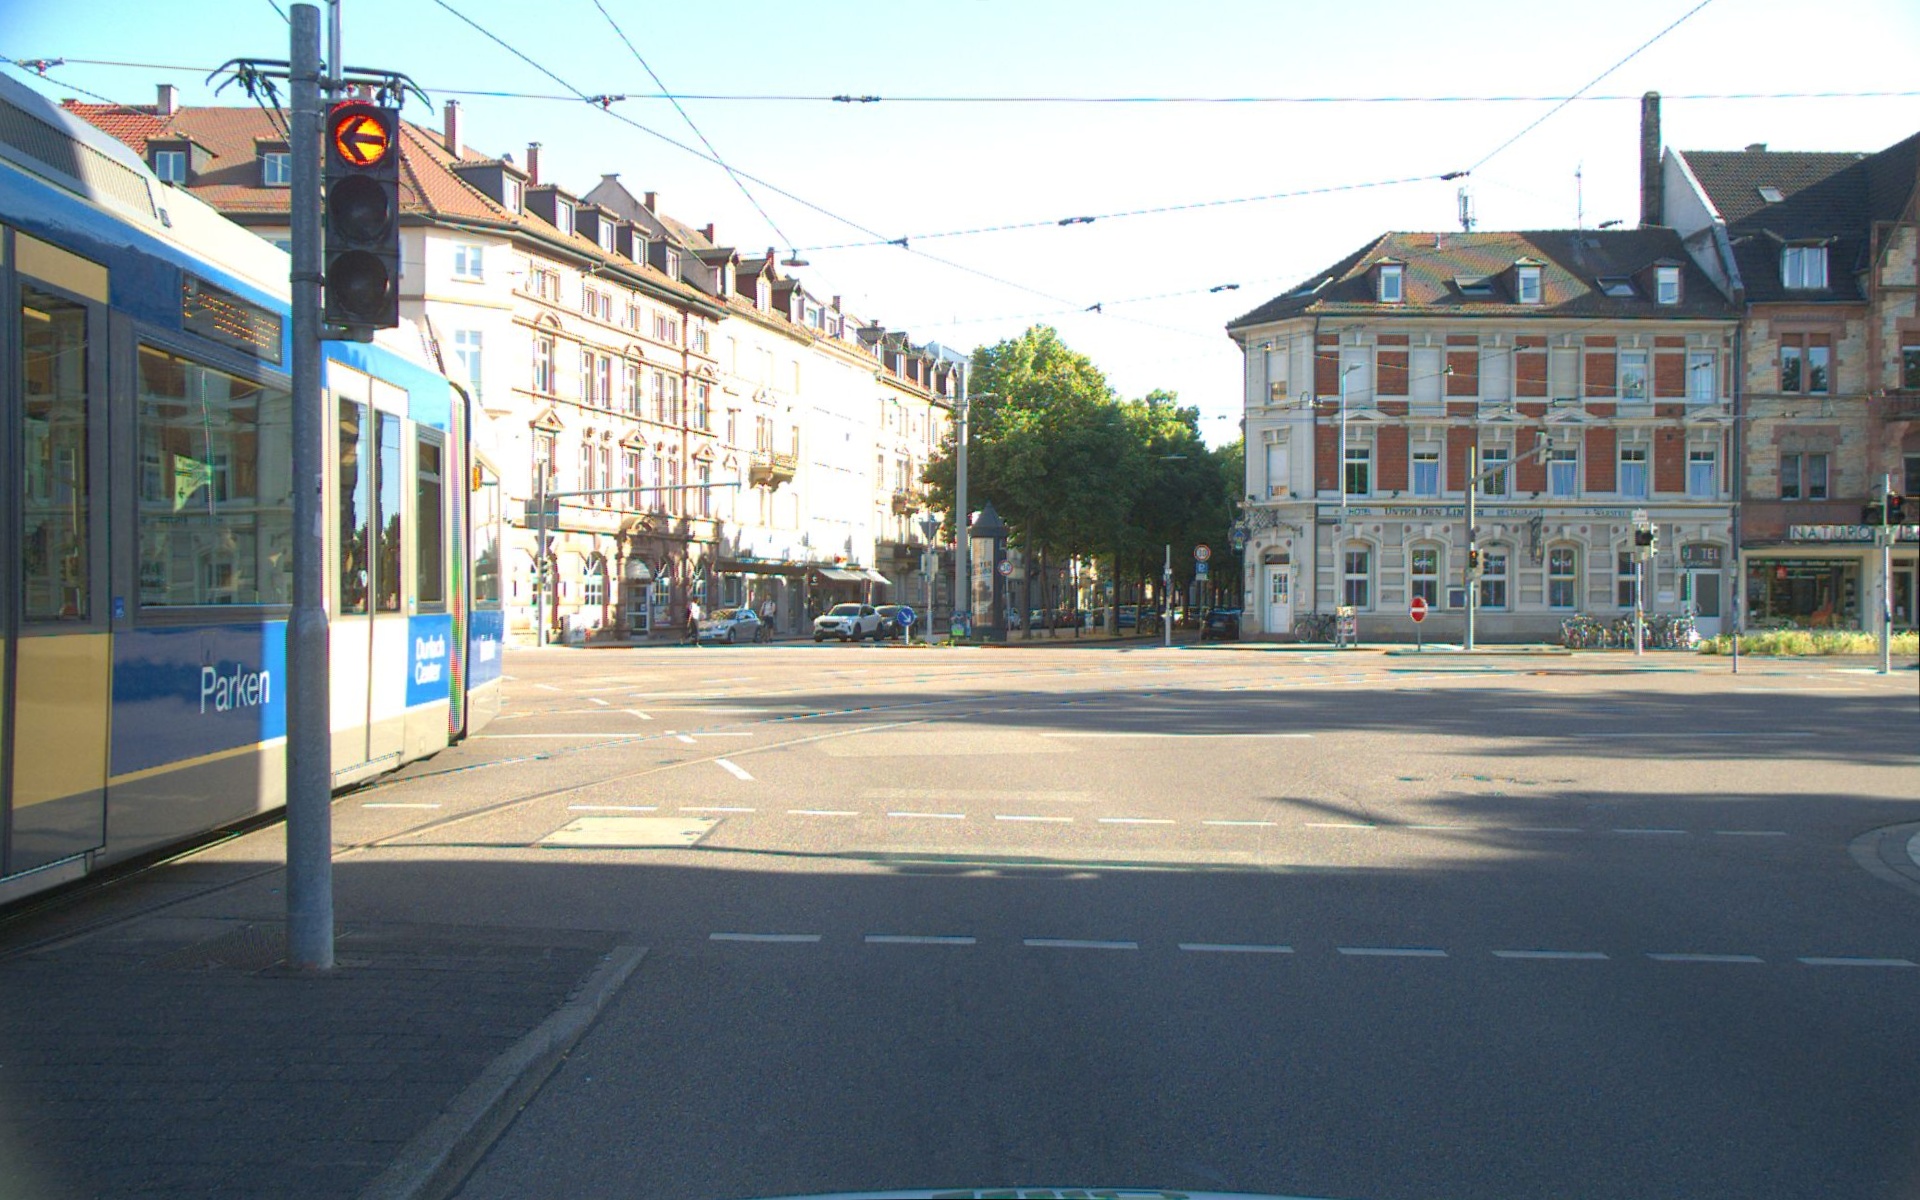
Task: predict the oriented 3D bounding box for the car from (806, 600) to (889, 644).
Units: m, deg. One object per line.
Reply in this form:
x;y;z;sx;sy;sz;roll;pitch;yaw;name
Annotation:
-4.537;0.878;67.263;1.951;1.713;4.393;0;0;17;car

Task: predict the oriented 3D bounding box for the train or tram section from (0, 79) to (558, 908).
-4.968;-0.484;11.291;2.758;3.561;8.457;0;0;-3;train or tram section

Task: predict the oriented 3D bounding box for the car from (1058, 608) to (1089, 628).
9.396;1.454;136.474;1.727;1.576;4.394;0;0;16;car

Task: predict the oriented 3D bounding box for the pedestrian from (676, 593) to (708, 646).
-9.127;0.660;56.374;1.028;1.774;0.806;0;0;-13;pedestrian

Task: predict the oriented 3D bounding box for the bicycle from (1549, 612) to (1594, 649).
19.827;0.981;53.669;0.789;1.163;2.175;0;0;4;bicycle

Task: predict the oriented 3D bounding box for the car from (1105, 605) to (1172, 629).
12.461;1.189;115.586;4.290;1.640;1.998;0;0;26;car

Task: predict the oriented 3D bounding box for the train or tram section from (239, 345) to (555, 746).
-6.846;-0.524;20.853;2.726;3.561;11.973;0;0;-17;train or tram section

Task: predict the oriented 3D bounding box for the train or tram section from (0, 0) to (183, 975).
-4.589;-0.469;3.136;2.758;3.561;7.958;0;0;-2;train or tram section

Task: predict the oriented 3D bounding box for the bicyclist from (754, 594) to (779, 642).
-7.580;0.688;64.942;0.664;1.852;1.071;0;0;12;bicyclist

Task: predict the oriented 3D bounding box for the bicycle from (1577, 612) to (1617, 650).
20.599;0.991;53.550;0.605;1.163;2.175;0;0;4;bicycle

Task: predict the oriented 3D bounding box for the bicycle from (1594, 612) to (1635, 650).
21.170;0.986;53.520;0.605;1.163;2.175;0;0;4;bicycle

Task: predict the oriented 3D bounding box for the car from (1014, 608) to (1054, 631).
5.531;1.418;122.749;1.951;1.640;4.393;0;0;17;car

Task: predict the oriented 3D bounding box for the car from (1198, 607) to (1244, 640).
13.075;1.153;82.644;1.951;1.613;4.003;0;0;13;car

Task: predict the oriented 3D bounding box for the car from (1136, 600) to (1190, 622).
16.422;0.878;133.883;3.912;1.736;1.996;0;0;30;car

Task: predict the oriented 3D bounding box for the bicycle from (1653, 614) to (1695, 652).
23.042;1.051;53.409;0.596;1.156;2.136;0;0;4;bicycle

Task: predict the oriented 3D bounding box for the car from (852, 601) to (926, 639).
-3.143;0.855;73.798;1.951;1.640;4.393;0;0;17;car

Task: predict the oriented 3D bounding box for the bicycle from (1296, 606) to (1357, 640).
12.756;0.811;57.593;2.045;1.144;0.366;1;-1;-5;bicycle

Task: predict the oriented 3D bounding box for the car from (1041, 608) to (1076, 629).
7.784;1.415;130.573;1.798;1.579;4.393;0;0;16;car

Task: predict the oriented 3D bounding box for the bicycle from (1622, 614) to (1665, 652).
22.078;1.048;53.461;0.605;1.163;2.175;0;0;4;bicycle

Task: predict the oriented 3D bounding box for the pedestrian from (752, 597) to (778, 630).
-9.308;0.650;78.973;0.908;1.562;1.138;0;0;13;pedestrian

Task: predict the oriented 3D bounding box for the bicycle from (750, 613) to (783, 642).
-7.591;1.075;64.900;0.665;1.085;2.127;0;0;12;bicycle

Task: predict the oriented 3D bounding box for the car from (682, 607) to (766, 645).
-9.521;1.029;66.910;1.858;1.481;4.002;0;0;17;car
